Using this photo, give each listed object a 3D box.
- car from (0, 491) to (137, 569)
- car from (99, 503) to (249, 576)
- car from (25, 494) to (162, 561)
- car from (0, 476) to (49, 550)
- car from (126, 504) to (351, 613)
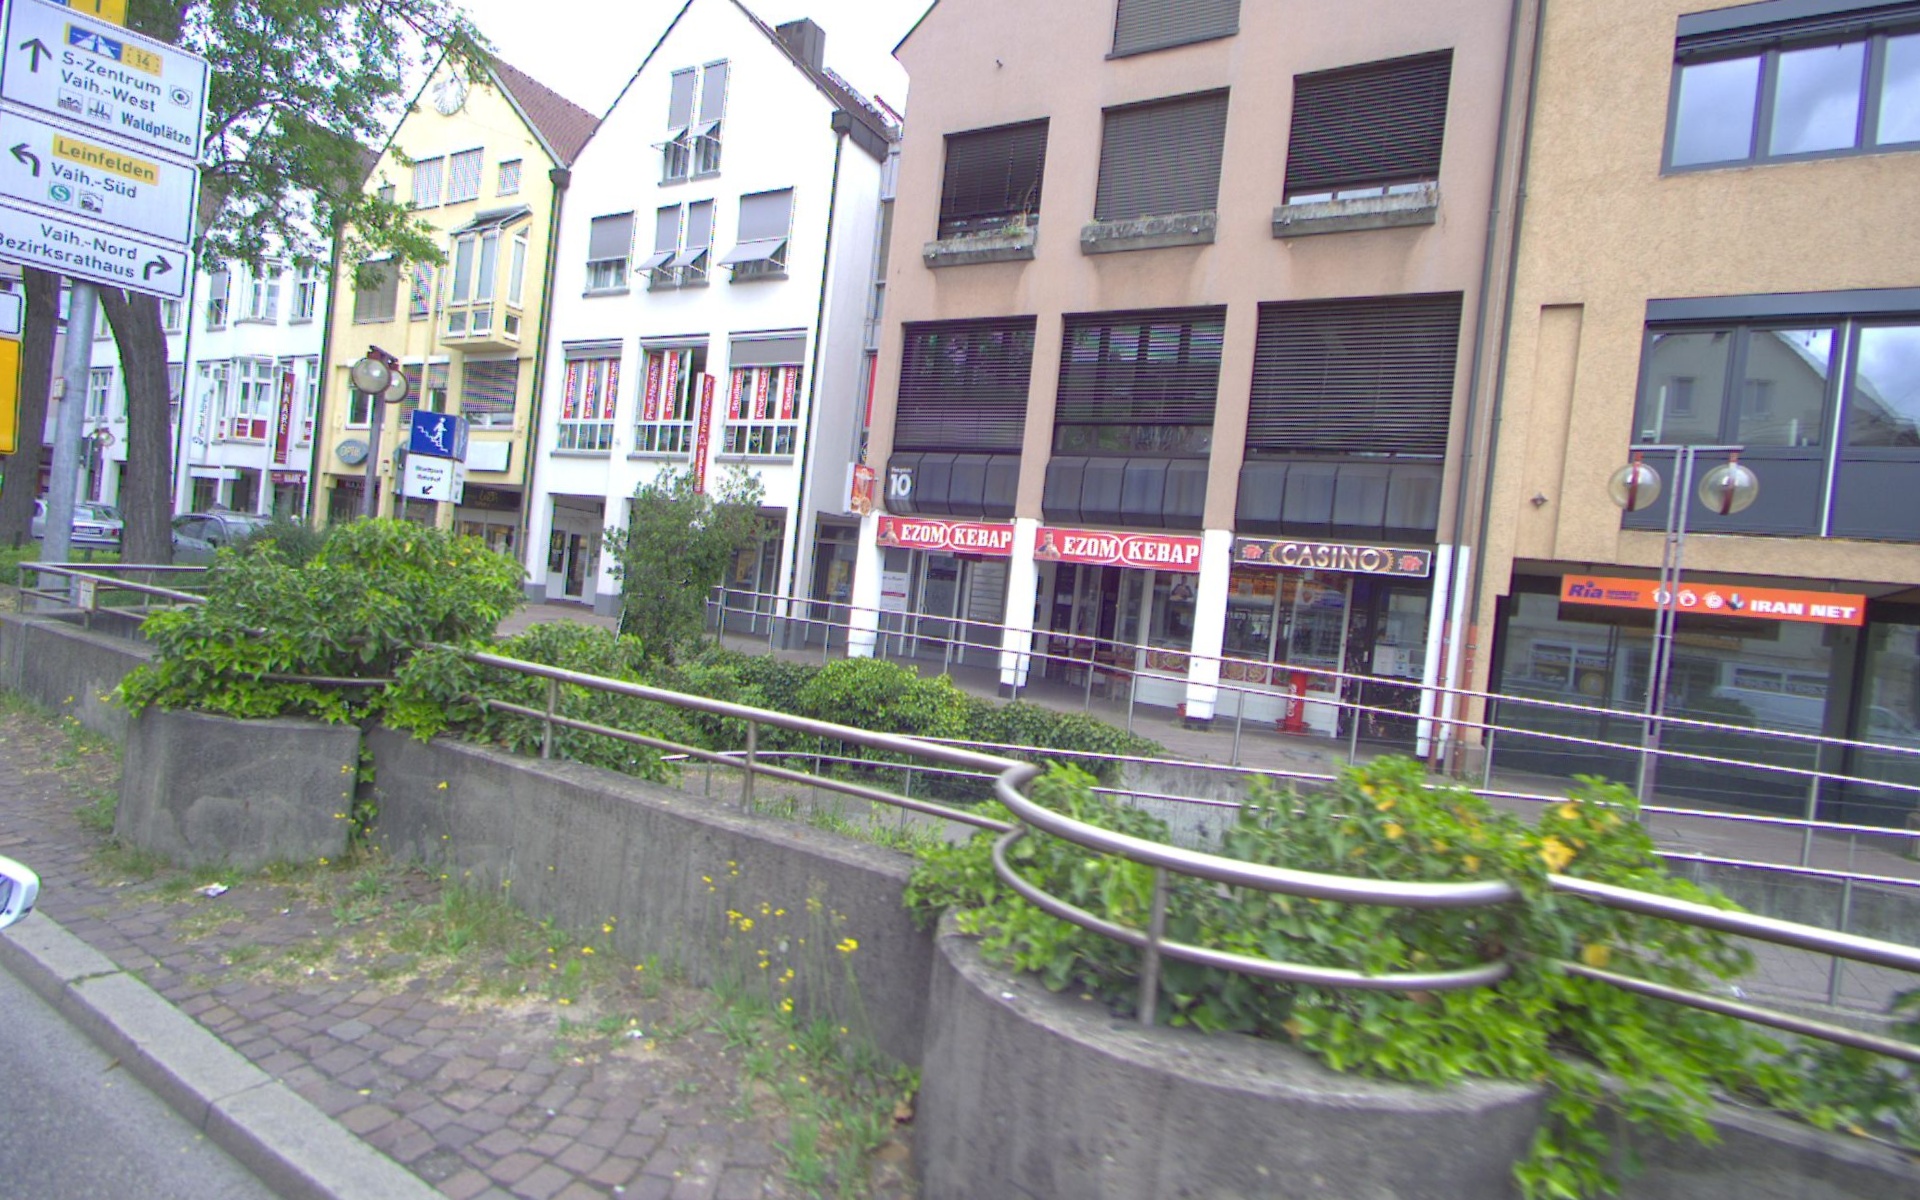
[{"bbox_3d":[-23.315,-1.839,25.929,3.931,1.547,1.870,7,0,29],"label":"car"},{"bbox_3d":[-22.122,-1.708,28.303,3.931,1.547,1.870,7,0,29],"label":"car"},{"bbox_3d":[-26.529,-2.234,30.793,3.931,1.547,1.870,7,0,29],"label":"car"},{"bbox_3d":[-27.824,-2.617,28.381,3.931,1.888,1.870,7,0,29],"label":"car"},{"bbox_3d":[-14.772,-0.863,20.563,4.421,1.659,1.884,7,0,28],"label":"car"}]
